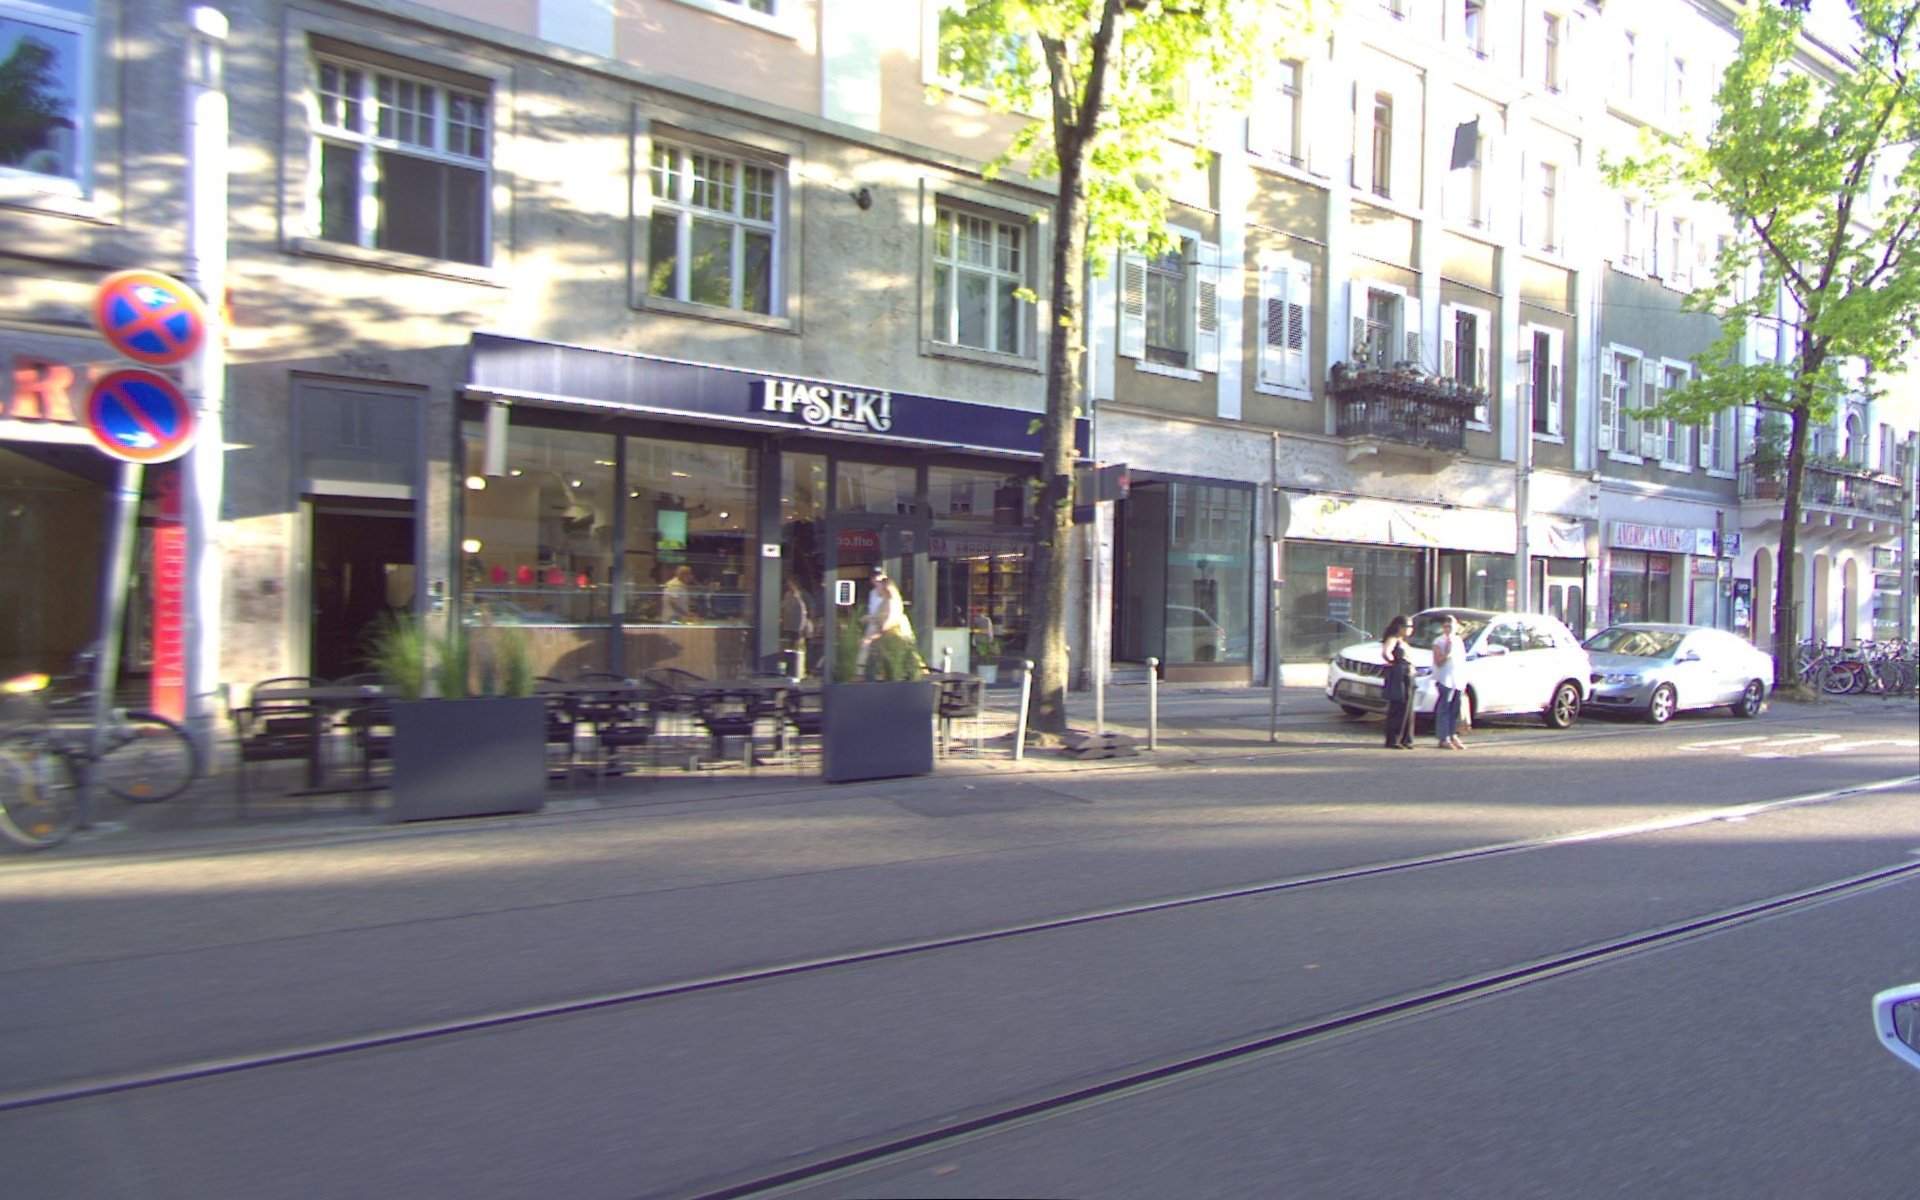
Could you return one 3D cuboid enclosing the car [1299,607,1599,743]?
[{"bbox_3d":[7.086,0.994,14.505,4.066,1.601,1.828,1,3,-29],"label":"car"}]

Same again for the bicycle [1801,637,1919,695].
[{"bbox_3d":[20.111,1.459,22.399,1.997,1.119,0.499,3,1,36],"label":"bicycle"}]

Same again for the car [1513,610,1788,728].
[{"bbox_3d":[11.529,1.065,16.708,4.645,1.601,1.828,1,3,-29],"label":"car"}]

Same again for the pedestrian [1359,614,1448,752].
[{"bbox_3d":[5.145,0.940,11.658,0.720,1.529,0.617,2,-1,-29],"label":"pedestrian"}]

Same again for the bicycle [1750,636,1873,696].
[{"bbox_3d":[18.207,1.387,21.539,1.920,1.119,0.565,3,1,36],"label":"bicycle"}]

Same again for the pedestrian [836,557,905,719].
[{"bbox_3d":[-1.172,0.488,13.129,0.635,2.040,0.719,1,0,-29],"label":"pedestrian"}]

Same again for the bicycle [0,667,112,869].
[{"bbox_3d":[-5.852,0.981,6.249,0.426,0.978,1.612,1,2,-23],"label":"bicycle"}]

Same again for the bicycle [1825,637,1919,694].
[{"bbox_3d":[20.930,1.474,22.710,0.494,1.119,2.016,2,1,-26],"label":"bicycle"}]

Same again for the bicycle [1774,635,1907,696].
[{"bbox_3d":[19.058,1.400,21.803,2.081,1.119,0.499,3,1,36],"label":"bicycle"}]

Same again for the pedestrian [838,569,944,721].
[{"bbox_3d":[-0.850,0.535,12.331,1.077,1.784,0.718,1,0,-29],"label":"pedestrian"}]

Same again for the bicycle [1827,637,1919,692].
[{"bbox_3d":[21.356,1.481,23.140,0.494,1.119,2.016,2,1,-26],"label":"bicycle"}]

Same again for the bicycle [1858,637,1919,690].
[{"bbox_3d":[22.125,1.491,23.527,0.491,1.119,2.031,3,1,6],"label":"bicycle"}]

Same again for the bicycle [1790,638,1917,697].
[{"bbox_3d":[19.603,1.461,22.106,1.997,1.119,0.499,3,1,36],"label":"bicycle"}]

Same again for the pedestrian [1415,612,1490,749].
[{"bbox_3d":[5.903,0.945,12.039,0.626,1.590,0.519,2,-1,-29],"label":"pedestrian"}]
